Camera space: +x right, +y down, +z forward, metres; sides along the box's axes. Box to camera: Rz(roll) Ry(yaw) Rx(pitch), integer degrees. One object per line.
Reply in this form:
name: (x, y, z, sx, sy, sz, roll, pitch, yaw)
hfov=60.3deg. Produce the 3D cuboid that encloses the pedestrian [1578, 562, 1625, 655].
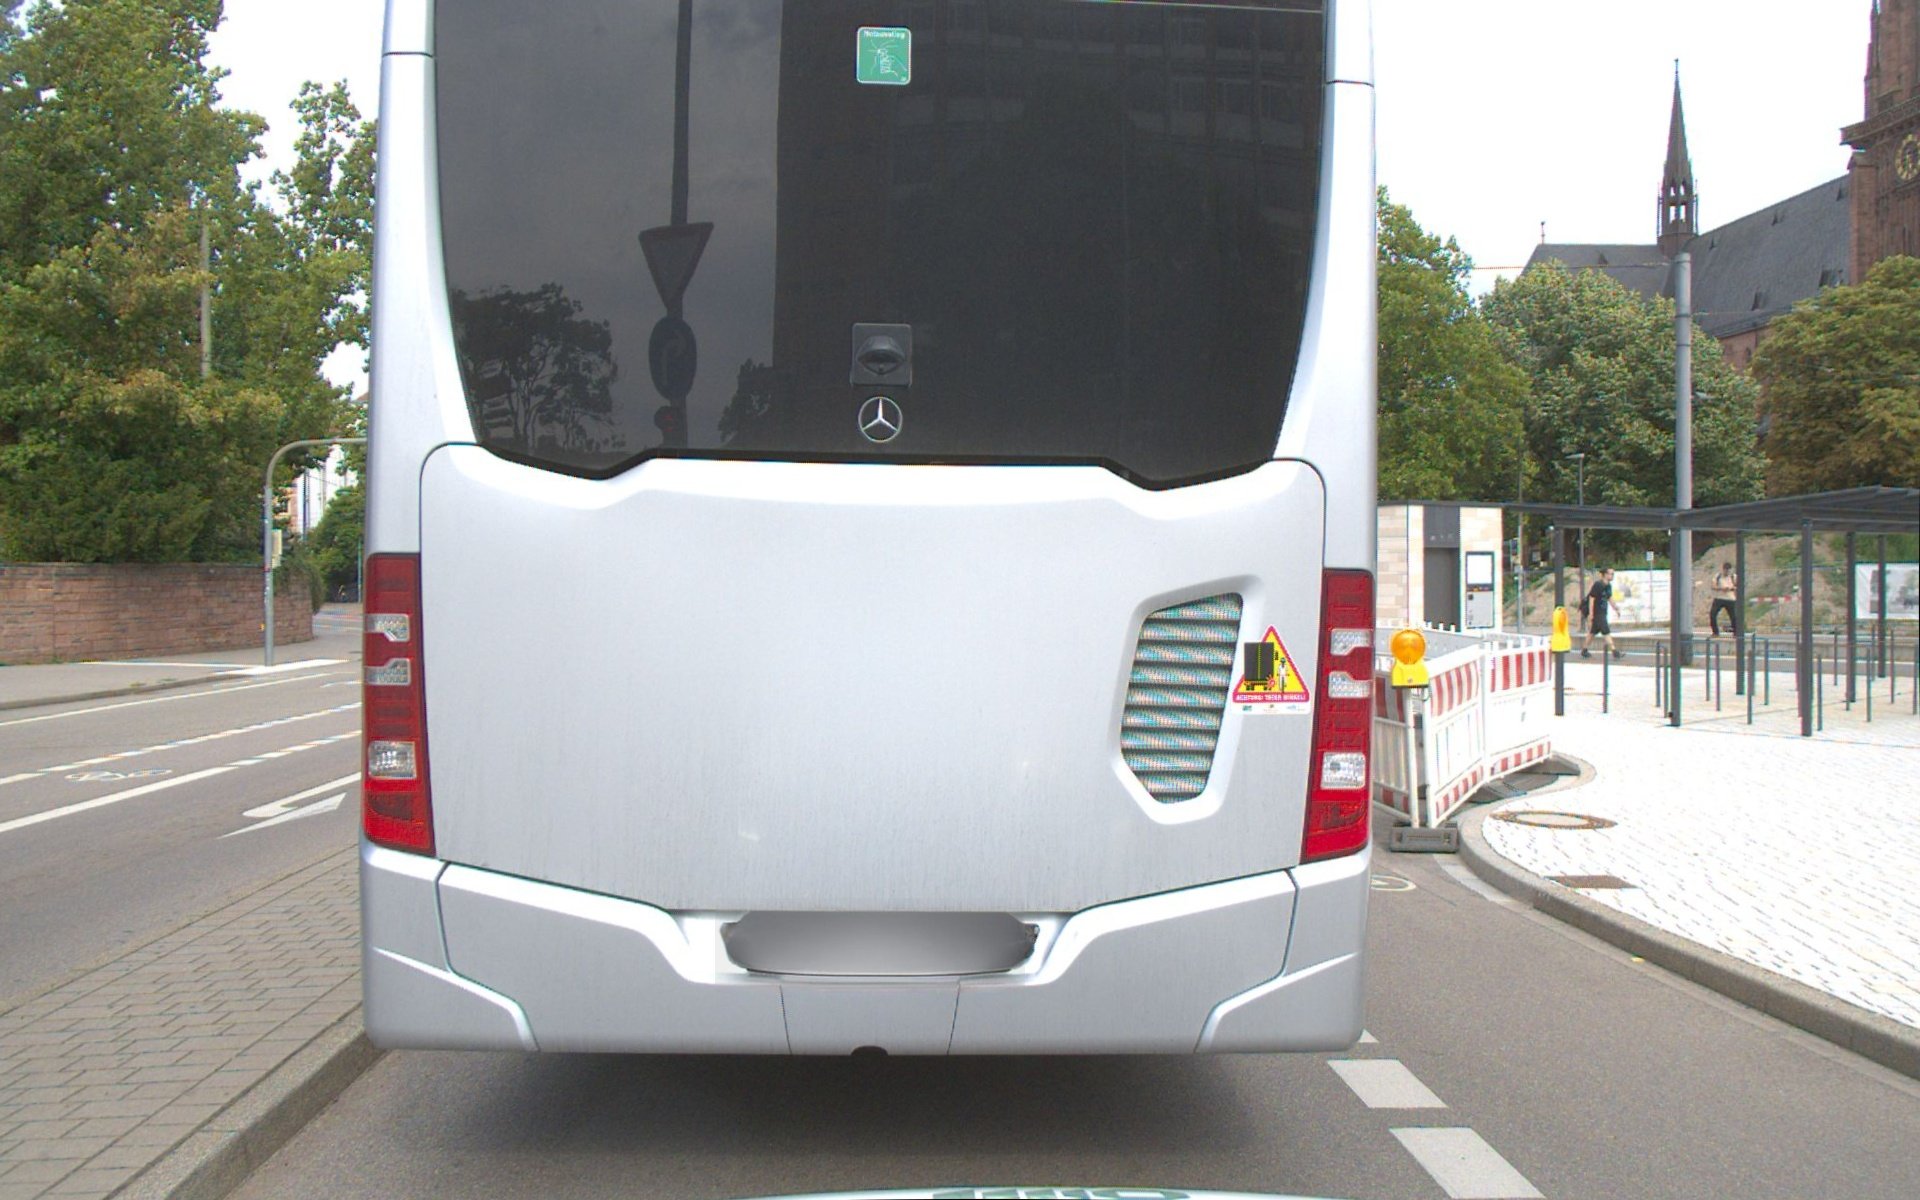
pedestrian: (11.912, 0.151, 30.737, 0.526, 1.683, 0.621, -2, 3, -38)

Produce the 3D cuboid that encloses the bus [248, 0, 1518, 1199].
bus: (-0.292, -0.186, 10.551, 2.650, 3.498, 14.180, 0, 0, -1)

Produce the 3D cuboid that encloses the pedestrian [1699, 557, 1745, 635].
pedestrian: (18.265, -0.114, 39.651, 0.803, 1.832, 0.753, 0, 3, 9)
